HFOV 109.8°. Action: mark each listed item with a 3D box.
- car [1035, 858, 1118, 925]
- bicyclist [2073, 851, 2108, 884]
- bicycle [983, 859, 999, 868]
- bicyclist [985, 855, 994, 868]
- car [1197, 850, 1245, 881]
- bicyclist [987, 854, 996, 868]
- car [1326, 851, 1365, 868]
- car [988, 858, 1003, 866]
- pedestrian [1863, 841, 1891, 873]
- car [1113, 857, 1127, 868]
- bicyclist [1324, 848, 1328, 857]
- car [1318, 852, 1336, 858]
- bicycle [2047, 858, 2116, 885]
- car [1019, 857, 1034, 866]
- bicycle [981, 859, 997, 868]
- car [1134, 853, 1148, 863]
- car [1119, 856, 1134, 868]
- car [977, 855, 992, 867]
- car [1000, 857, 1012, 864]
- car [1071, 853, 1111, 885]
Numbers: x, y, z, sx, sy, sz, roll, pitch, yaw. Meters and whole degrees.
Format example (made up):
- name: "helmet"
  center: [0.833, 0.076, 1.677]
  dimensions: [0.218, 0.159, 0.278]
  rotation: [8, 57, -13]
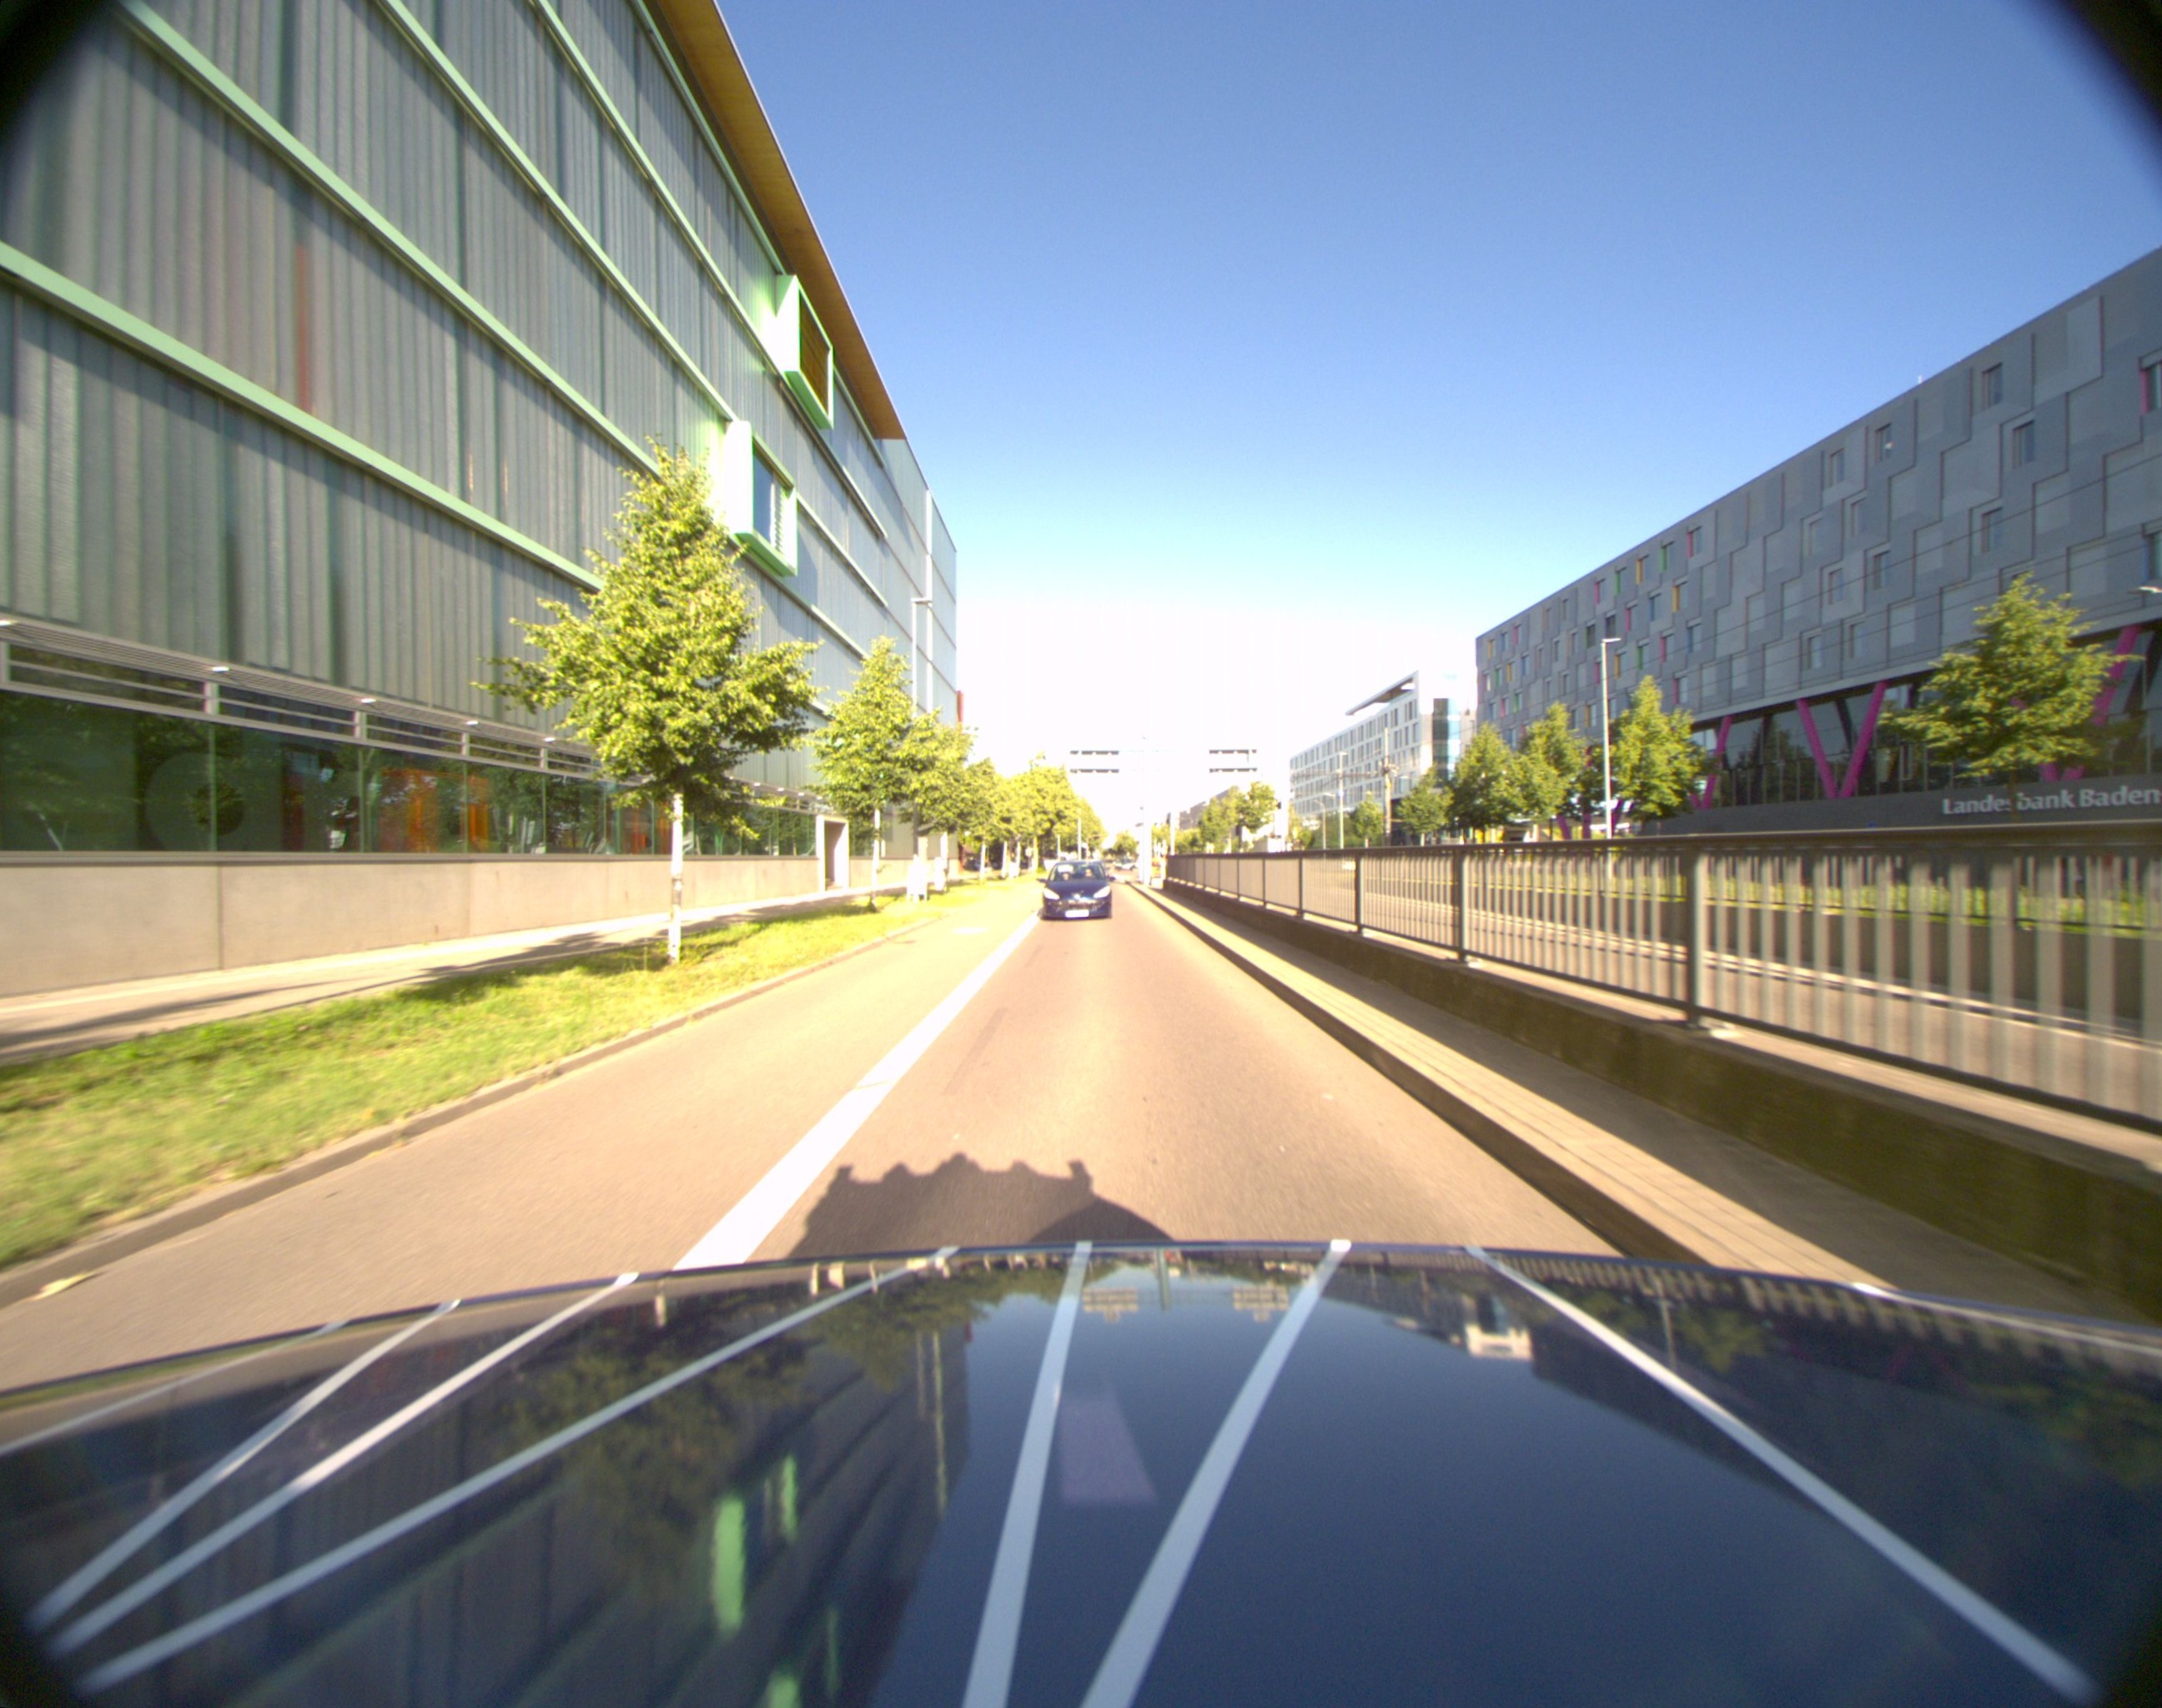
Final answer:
- name: "car"
  center: [0.012, 0.908, 20.535]
  dimensions: [1.802, 1.518, 4.607]
  rotation: [-2, 0, 4]
- name: "bicyclist"
  center: [45.392, 0.597, 34.171]
  dimensions: [0.560, 1.487, 0.763]
  rotation: [0, 1, 1]
- name: "bicycle"
  center: [-11.688, 1.260, 98.678]
  dimensions: [2.100, 1.196, 0.552]
  rotation: [0, 0, 13]
- name: "bicyclist"
  center: [-11.806, 0.949, 97.724]
  dimensions: [0.876, 1.644, 0.794]
  rotation: [0, 0, 13]
- name: "car"
  center: [7.460, 0.584, 40.858]
  dimensions: [1.803, 1.518, 4.343]
  rotation: [-2, 0, 0]
- name: "bicyclist"
  center: [-11.620, 0.900, 98.636]
  dimensions: [0.876, 1.727, 0.833]
  rotation: [0, 0, 13]
- name: "car"
  center: [25.072, 0.504, 72.148]
  dimensions: [1.998, 1.553, 4.871]
  rotation: [-1, 0, 0]
- name: "car"
  center: [-17.063, 1.523, 151.946]
  dimensions: [1.897, 1.477, 4.916]
  rotation: [-1, 0, 7]
- name: "pedestrian"
  center: [45.438, 0.185, 43.380]
  dimensions: [0.722, 1.811, 0.871]
  rotation: [0, 0, 2]
- name: "car"
  center: [6.113, 1.330, 118.417]
  dimensions: [1.840, 1.483, 4.005]
  rotation: [-2, 0, -1]
- name: "bicyclist"
  center: [45.058, -0.249, 139.902]
  dimensions: [0.531, 1.716, 0.837]
  rotation: [-1, 0, 2]
- name: "car"
  center: [61.913, 0.296, 191.129]
  dimensions: [3.998, 1.347, 1.876]
  rotation: [-2, 0, -3]
- name: "bicycle"
  center: [44.984, 0.772, 34.184]
  dimensions: [0.521, 1.165, 1.975]
  rotation: [0, 0, 1]
- name: "car"
  center: [-10.019, 1.335, 140.472]
  dimensions: [1.898, 1.479, 4.348]
  rotation: [-1, 0, 6]
- name: "bicycle"
  center: [-11.828, 1.261, 97.747]
  dimensions: [2.100, 1.196, 0.552]
  rotation: [0, 0, 16]
- name: "car"
  center: [9.824, 0.647, 124.601]
  dimensions: [1.676, 1.418, 4.005]
  rotation: [-2, 0, -1]
- name: "car"
  center: [5.622, 0.984, 94.347]
  dimensions: [1.675, 1.418, 4.006]
  rotation: [-2, 0, 2]
- name: "car"
  center: [-17.971, 1.289, 142.124]
  dimensions: [1.898, 2.025, 5.072]
  rotation: [1, 0, 4]
- name: "car"
  center: [-16.299, 1.367, 165.771]
  dimensions: [1.998, 1.520, 4.655]
  rotation: [1, 0, 1]
- name: "car"
  center: [0.580, 0.741, 39.625]
  dimensions: [1.802, 1.518, 4.606]
  rotation: [-2, 0, 3]
